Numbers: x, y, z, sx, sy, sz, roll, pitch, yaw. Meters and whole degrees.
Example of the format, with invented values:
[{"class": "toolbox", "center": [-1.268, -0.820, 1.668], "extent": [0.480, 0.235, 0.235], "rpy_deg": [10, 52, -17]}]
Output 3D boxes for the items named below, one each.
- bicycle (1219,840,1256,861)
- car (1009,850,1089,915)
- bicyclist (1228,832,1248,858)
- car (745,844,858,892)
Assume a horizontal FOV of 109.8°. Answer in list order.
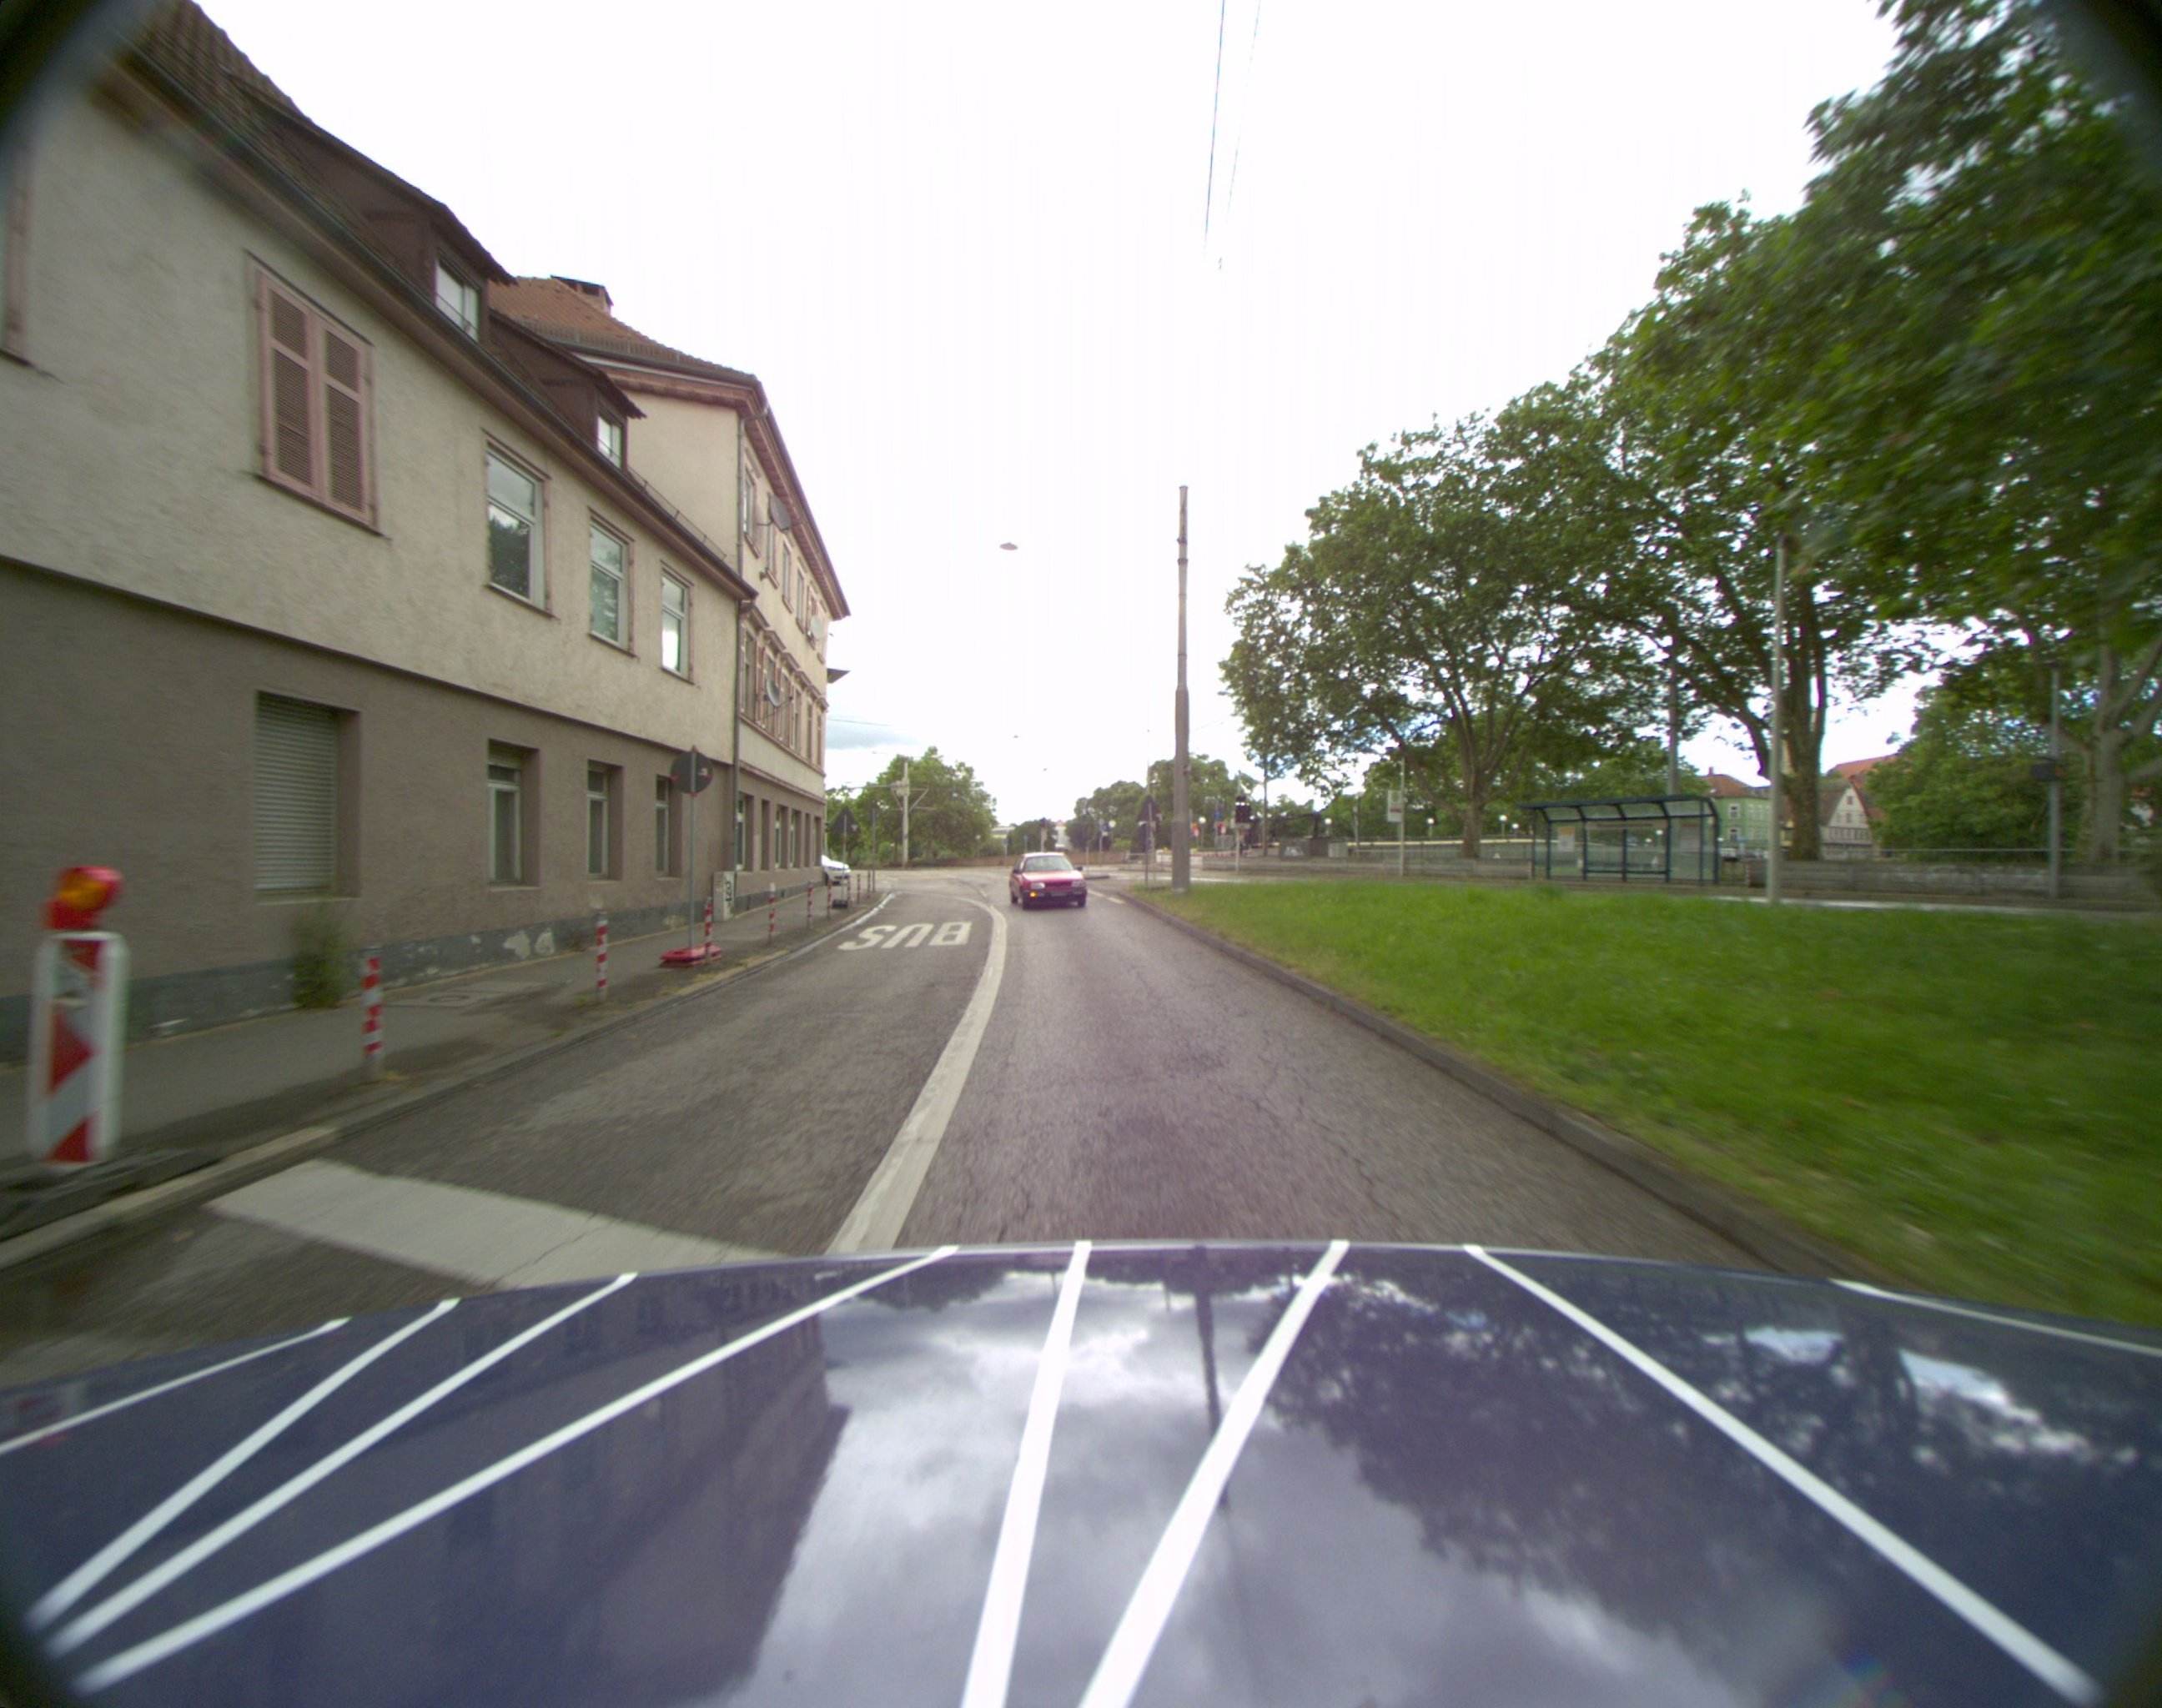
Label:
[{"class": "bicycle", "center": [10.187, -0.224, 49.613], "extent": [2.258, 1.271, 0.692], "rpy_deg": [0, 4, 41]}, {"class": "car", "center": [-0.973, 0.686, 20.784], "extent": [1.851, 1.415, 4.169], "rpy_deg": [-2, 2, -7]}, {"class": "bicyclist", "center": [10.244, -0.569, 49.540], "extent": [1.005, 1.642, 0.643], "rpy_deg": [0, 4, 41]}, {"class": "car", "center": [-12.455, 0.566, 33.862], "extent": [4.462, 1.776, 2.069], "rpy_deg": [-4, 3, -24]}]
